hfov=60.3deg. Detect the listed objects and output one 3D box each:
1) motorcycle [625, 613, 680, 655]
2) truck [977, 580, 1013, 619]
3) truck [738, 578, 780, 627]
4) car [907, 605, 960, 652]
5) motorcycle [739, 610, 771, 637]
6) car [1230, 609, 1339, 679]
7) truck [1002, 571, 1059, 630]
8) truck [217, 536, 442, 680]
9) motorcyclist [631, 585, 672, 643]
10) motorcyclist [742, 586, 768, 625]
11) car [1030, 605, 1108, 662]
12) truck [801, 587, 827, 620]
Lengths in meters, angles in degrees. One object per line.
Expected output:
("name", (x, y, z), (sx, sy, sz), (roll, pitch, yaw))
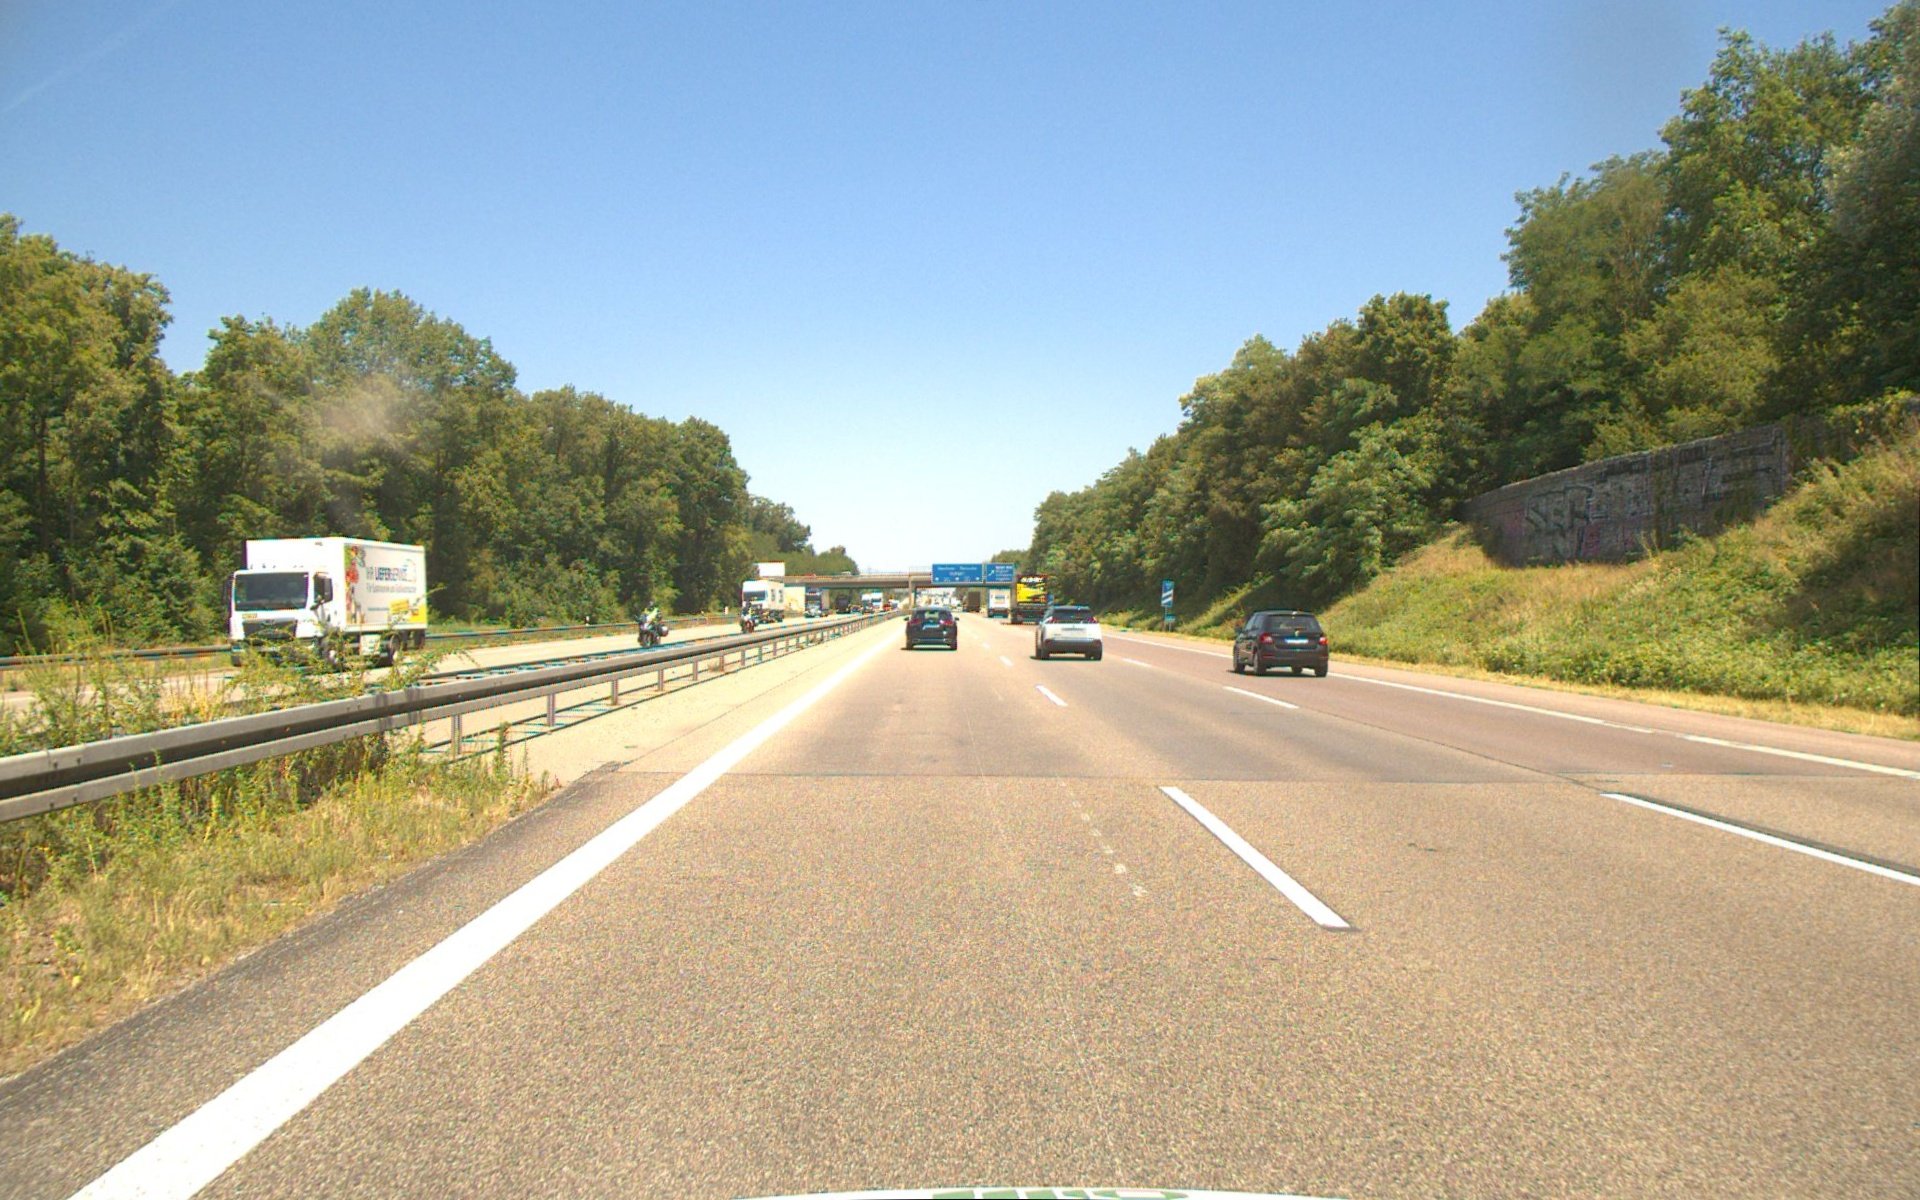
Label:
("motorcycle", (-9.942, 1.088, 53.611), (1.130, 1.272, 3.809), (-1, 0, -1))
("truck", (4.316, -0.058, 208.726), (3.574, 4.670, 17.240), (1, 0, -2))
("truck", (-19.761, 0.200, 163.505), (2.897, 4.594, 12.634), (-1, 0, -2))
("car", (-0.946, 0.941, 57.160), (1.763, 1.528, 4.240), (1, 0, -2))
("motorcycle", (-9.971, 1.146, 80.591), (1.130, 1.272, 3.809), (-1, 0, -1))
("car", (7.499, 0.989, 38.566), (1.753, 1.487, 3.949), (1, 0, 0))
("truck", (5.795, 0.088, 139.807), (3.574, 4.670, 15.760), (1, 0, -2))
("truck", (-18.084, 0.194, 48.389), (2.739, 3.696, 10.693), (-1, 0, -2))
("motorcyclist", (-9.944, 0.448, 53.369), (1.129, 1.847, 1.027), (-1, 0, -1))
("motorcyclist", (-9.981, 0.275, 80.513), (1.129, 1.847, 1.027), (-1, 0, -1))
("car", (3.153, 0.952, 48.645), (1.861, 1.559, 4.240), (1, 0, -2))
("truck", (-21.305, 0.503, 241.952), (2.897, 4.594, 12.634), (-1, 0, -2))
